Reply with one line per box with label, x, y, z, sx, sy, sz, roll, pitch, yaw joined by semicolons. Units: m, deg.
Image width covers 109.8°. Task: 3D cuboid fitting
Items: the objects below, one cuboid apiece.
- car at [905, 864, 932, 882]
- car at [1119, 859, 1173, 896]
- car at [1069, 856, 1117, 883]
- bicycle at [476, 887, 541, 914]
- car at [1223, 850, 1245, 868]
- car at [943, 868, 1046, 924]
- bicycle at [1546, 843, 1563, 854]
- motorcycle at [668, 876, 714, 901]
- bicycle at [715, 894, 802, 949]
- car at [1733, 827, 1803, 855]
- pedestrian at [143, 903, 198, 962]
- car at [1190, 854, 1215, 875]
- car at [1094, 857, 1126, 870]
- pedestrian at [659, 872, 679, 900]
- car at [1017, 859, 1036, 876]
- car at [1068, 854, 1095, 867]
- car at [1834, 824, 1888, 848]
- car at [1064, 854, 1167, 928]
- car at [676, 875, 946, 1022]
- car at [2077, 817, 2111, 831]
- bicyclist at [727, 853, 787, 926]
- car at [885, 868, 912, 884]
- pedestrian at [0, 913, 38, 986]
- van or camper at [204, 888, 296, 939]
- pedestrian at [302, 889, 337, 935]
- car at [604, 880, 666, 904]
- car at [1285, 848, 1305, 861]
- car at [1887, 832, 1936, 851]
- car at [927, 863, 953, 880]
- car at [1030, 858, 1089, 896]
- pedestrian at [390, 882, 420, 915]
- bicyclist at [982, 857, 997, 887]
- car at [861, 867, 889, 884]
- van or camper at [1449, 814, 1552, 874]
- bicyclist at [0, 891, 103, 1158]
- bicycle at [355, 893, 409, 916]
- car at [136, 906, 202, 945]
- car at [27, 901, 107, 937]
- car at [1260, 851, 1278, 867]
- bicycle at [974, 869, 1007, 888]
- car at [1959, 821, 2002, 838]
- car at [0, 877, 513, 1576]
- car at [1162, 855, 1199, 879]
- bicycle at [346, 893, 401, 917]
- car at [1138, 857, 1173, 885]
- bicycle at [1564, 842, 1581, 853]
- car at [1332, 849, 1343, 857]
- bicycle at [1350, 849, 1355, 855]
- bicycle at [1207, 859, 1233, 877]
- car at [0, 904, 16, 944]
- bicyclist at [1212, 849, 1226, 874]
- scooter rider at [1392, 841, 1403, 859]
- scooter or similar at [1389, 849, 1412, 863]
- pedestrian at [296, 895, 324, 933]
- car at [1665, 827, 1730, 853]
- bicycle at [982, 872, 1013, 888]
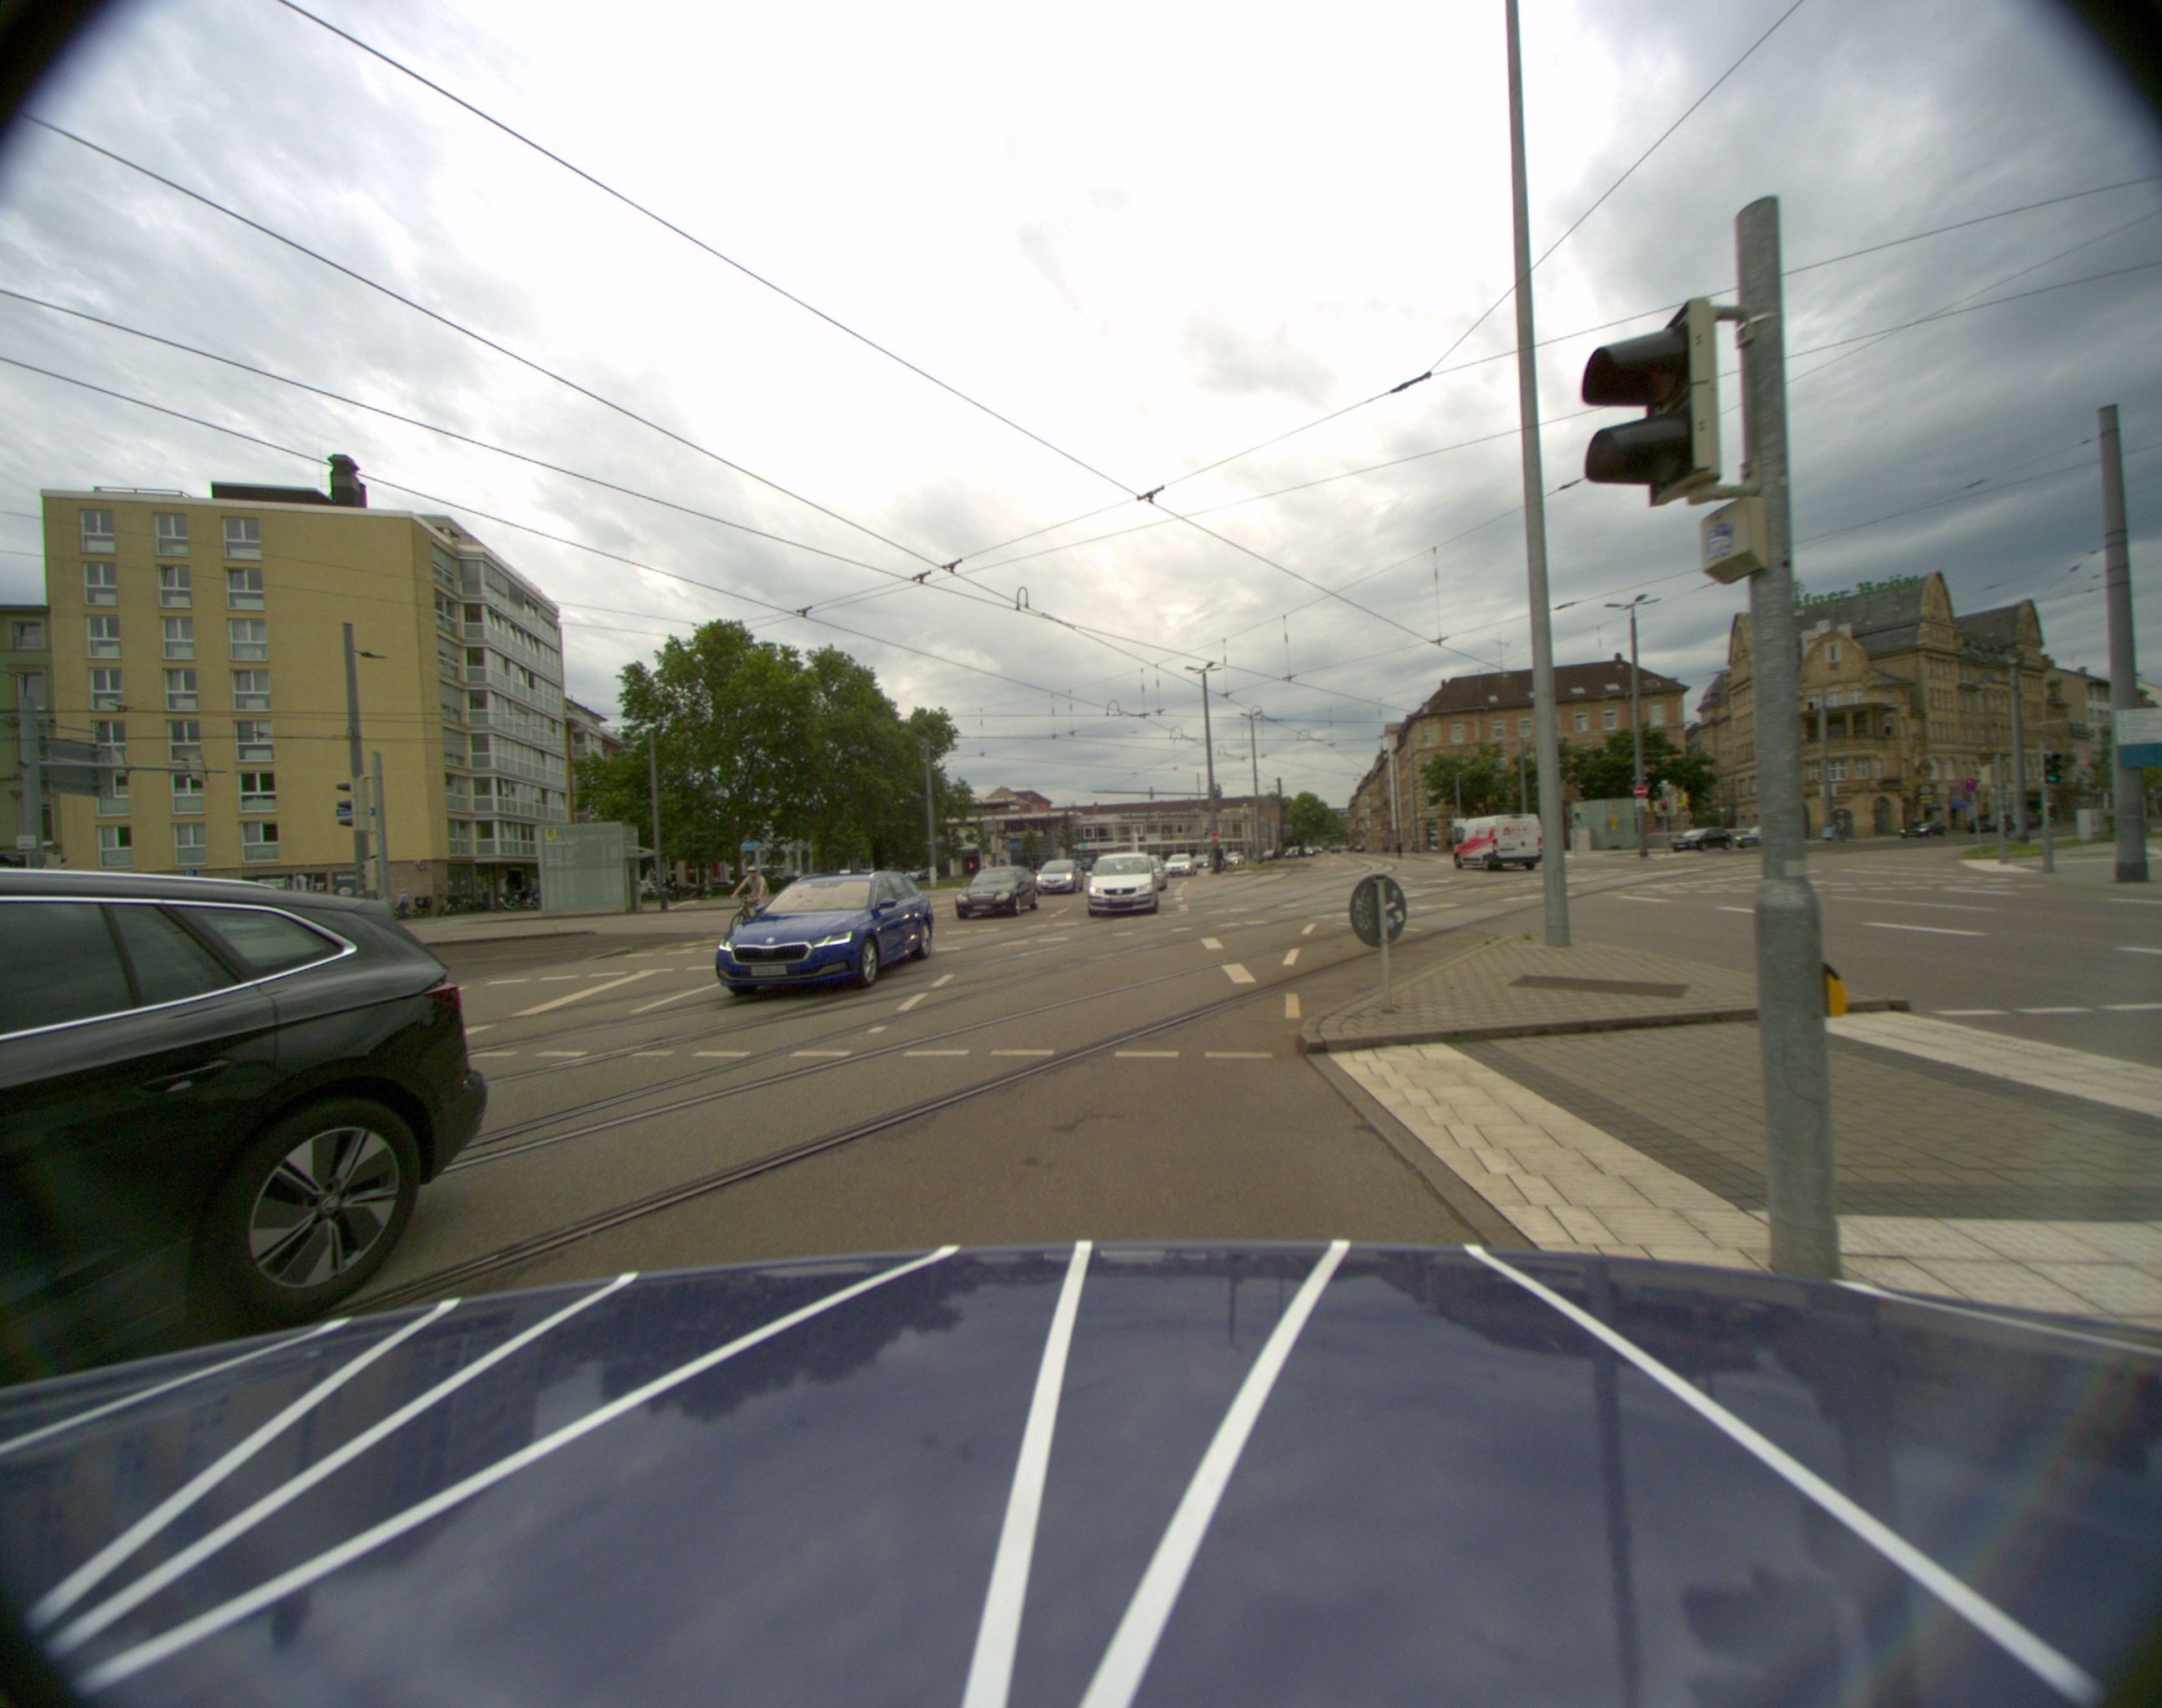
car;-20.657;2.403;96.778;1.955;1.589;4.227;-3;6;6
car;2.880;0.962;32.743;1.808;1.398;3.986;-2;0;11
car;0.810;0.950;47.832;1.980;1.550;4.149;-3;0;14
bicycle;-32.874;2.645;43.649;2.784;1.369;0.903;-3;0;-12
car;18.186;0.556;90.009;1.996;2.002;4.005;-3;0;19
car;-2.409;1.147;22.333;1.768;1.362;4.426;-2;0;10
bicycle;44.334;-0.515;71.137;0.753;1.024;2.400;-3;0;18
motorcycle;-23.232;2.049;45.284;2.295;1.358;1.045;-2;0;-23
bicycle;-7.571;1.559;17.980;0.762;1.072;2.018;-4;0;14
car;49.987;-0.948;55.269;4.931;1.704;2.159;-3;-2;-28
pedestrian;-26.427;2.252;22.066;0.786;1.593;0.894;-3;1;-37
car;12.648;1.113;78.849;1.996;2.002;4.005;-3;0;16
car;3.746;1.202;97.334;3.902;1.432;1.734;-3;0;8
pedestrian;-27.524;2.102;50.780;0.866;1.808;0.898;-2;0;-6
car;-6.818;1.641;95.478;1.956;1.634;4.671;-3;4;0
car;0.080;0.810;95.968;1.793;1.551;4.026;-3;0;-26
car;62.960;-1.449;61.304;4.007;1.749;1.829;-3;0;-26
car;1.060;0.860;20.049;1.862;1.609;5.066;-3;0;12
car;-3.398;1.111;10.717;1.769;1.427;4.758;-3;0;4
car;121.442;-3.581;91.054;4.007;1.457;1.829;-3;0;-28
bicyclist;-7.643;0.822;17.964;0.790;1.608;0.934;-4;0;14
car;-23.352;2.775;97.164;1.955;1.459;4.228;-3;5;6
pedestrian;-25.237;2.240;17.724;0.786;1.634;0.902;-3;1;-37
van or camper;-37.176;2.612;33.949;5.452;1.967;2.176;-3;0;37
pedestrian;-30.958;2.338;30.901;0.789;1.746;1.046;-2;0;-35
car;-35.739;3.021;60.982;4.004;1.713;1.997;-2;0;-22
car;31.665;0.037;112.393;2.369;1.744;5.137;-3;0;21
car;70.445;-1.071;64.464;4.007;1.457;1.829;-3;0;-28
car;-17.918;2.233;96.801;1.955;1.449;4.226;-3;7;6
car;-0.901;0.985;34.142;1.707;1.474;3.937;-4;-1;12
pedestrian;-36.402;2.388;40.932;0.907;1.727;0.812;-2;0;-15
bicyclist;-5.655;1.130;47.051;0.735;1.740;0.586;-6;-2;-10
car;-26.345;2.733;97.092;1.955;1.505;4.227;-3;6;6
van or camper;19.400;-0.409;35.515;2.283;2.512;5.576;-2;0;8
bicyclist;-7.205;1.108;4.931;0.617;1.680;0.806;-3;0;7
bicycle;-38.371;2.771;41.748;2.041;1.162;0.669;-2;0;-17
car;-39.959;3.085;33.316;3.728;1.409;1.739;-3;1;40
car;-41.893;2.657;31.373;3.728;1.296;1.683;-3;0;33
car;25.607;0.619;103.371;1.996;2.002;4.005;-3;0;19
bicycle;-5.612;1.514;47.064;1.992;0.992;0.579;-4;-2;-9
car;86.564;-2.357;73.093;4.007;1.457;1.829;-3;0;-28
car;-3.602;0.961;1.213;1.908;1.648;4.515;-3;0;0
car;6.628;0.840;50.259;1.970;1.447;4.197;-3;0;13
bicycle;-38.207;2.757;41.071;2.041;1.162;0.669;-2;0;-17
car;5.910;1.334;60.091;1.996;2.002;4.005;-3;0;16
bicycle;45.747;-0.582;70.711;0.753;1.024;2.400;-2;0;18
car;52.728;-0.158;156.142;1.886;1.461;4.469;-3;0;16
bicycle;57.996;-0.495;162.450;0.798;1.285;2.414;-3;0;16
bicycle;9.111;0.925;49.918;1.616;1.064;0.527;-3;0;-21
car;-45.120;2.918;30.483;3.730;1.573;1.894;-3;0;22
bicyclist;9.075;0.511;49.909;0.656;1.629;0.517;-3;1;-21
scooter rider;29.971;-0.376;72.033;0.820;1.618;0.570;-3;0;15
scooter or similar;30.229;0.194;72.008;1.903;1.158;0.575;-3;0;15
pedestrian;-35.770;2.792;35.245;0.822;1.705;0.618;-2;0;27
car;43.245;-0.957;53.314;4.250;1.601;1.996;-3;0;-28
bicycle;-5.329;1.682;48.739;1.945;0.992;0.602;1;0;-2
